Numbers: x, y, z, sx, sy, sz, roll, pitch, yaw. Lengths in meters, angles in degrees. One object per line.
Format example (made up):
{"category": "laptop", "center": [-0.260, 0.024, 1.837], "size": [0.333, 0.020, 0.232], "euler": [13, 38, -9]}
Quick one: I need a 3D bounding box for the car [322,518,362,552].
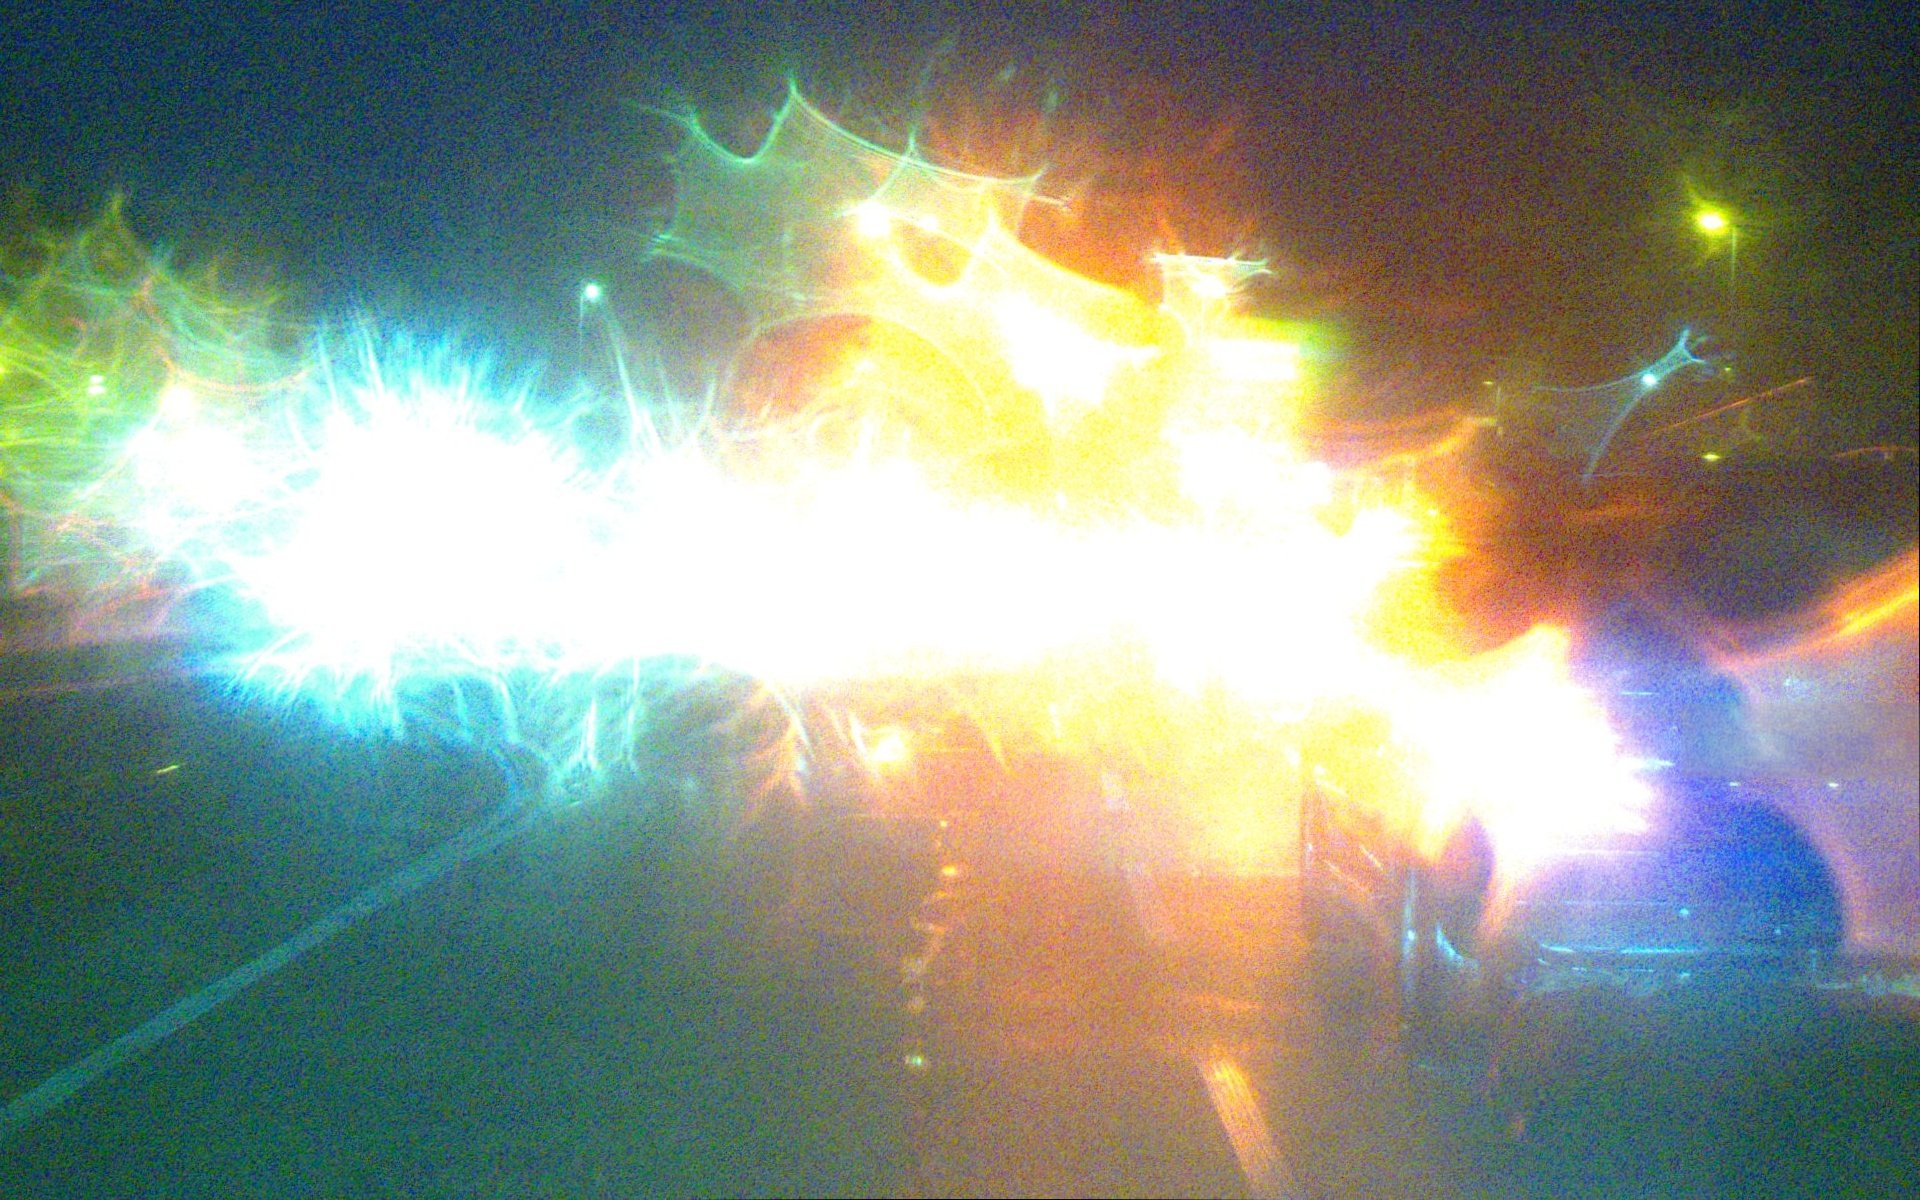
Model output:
{"category": "car", "center": [-34.723, -3.655, 193.216], "size": [1.993, 1.905, 4.744], "euler": [0, 1, -8]}

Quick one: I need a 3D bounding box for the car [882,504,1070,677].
{"category": "car", "center": [0.214, -0.112, 34.736], "size": [1.694, 1.624, 3.852], "euler": [1, 1, 3]}

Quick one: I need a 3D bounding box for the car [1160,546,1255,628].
{"category": "car", "center": [4.552, -0.245, 62.835], "size": [1.663, 1.445, 4.049], "euler": [0, 0, 5]}

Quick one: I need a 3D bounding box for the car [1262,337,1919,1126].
{"category": "car", "center": [2.135, 0.281, 10.716], "size": [1.942, 1.965, 4.218], "euler": [1, 1, -1]}

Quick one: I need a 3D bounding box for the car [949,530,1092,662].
{"category": "car", "center": [0.838, -0.090, 45.211], "size": [1.709, 1.632, 3.730], "euler": [-1, 1, 3]}

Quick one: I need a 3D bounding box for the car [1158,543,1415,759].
{"category": "car", "center": [2.501, 0.320, 26.024], "size": [1.768, 1.445, 4.217], "euler": [1, 1, 6]}

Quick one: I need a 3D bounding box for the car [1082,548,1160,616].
{"category": "car", "center": [3.557, -0.404, 76.164], "size": [1.663, 1.445, 4.049], "euler": [1, 0, 3]}

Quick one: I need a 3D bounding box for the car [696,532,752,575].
{"category": "car", "center": [-8.483, -1.679, 123.312], "size": [1.708, 1.493, 3.731], "euler": [-1, 1, -8]}
